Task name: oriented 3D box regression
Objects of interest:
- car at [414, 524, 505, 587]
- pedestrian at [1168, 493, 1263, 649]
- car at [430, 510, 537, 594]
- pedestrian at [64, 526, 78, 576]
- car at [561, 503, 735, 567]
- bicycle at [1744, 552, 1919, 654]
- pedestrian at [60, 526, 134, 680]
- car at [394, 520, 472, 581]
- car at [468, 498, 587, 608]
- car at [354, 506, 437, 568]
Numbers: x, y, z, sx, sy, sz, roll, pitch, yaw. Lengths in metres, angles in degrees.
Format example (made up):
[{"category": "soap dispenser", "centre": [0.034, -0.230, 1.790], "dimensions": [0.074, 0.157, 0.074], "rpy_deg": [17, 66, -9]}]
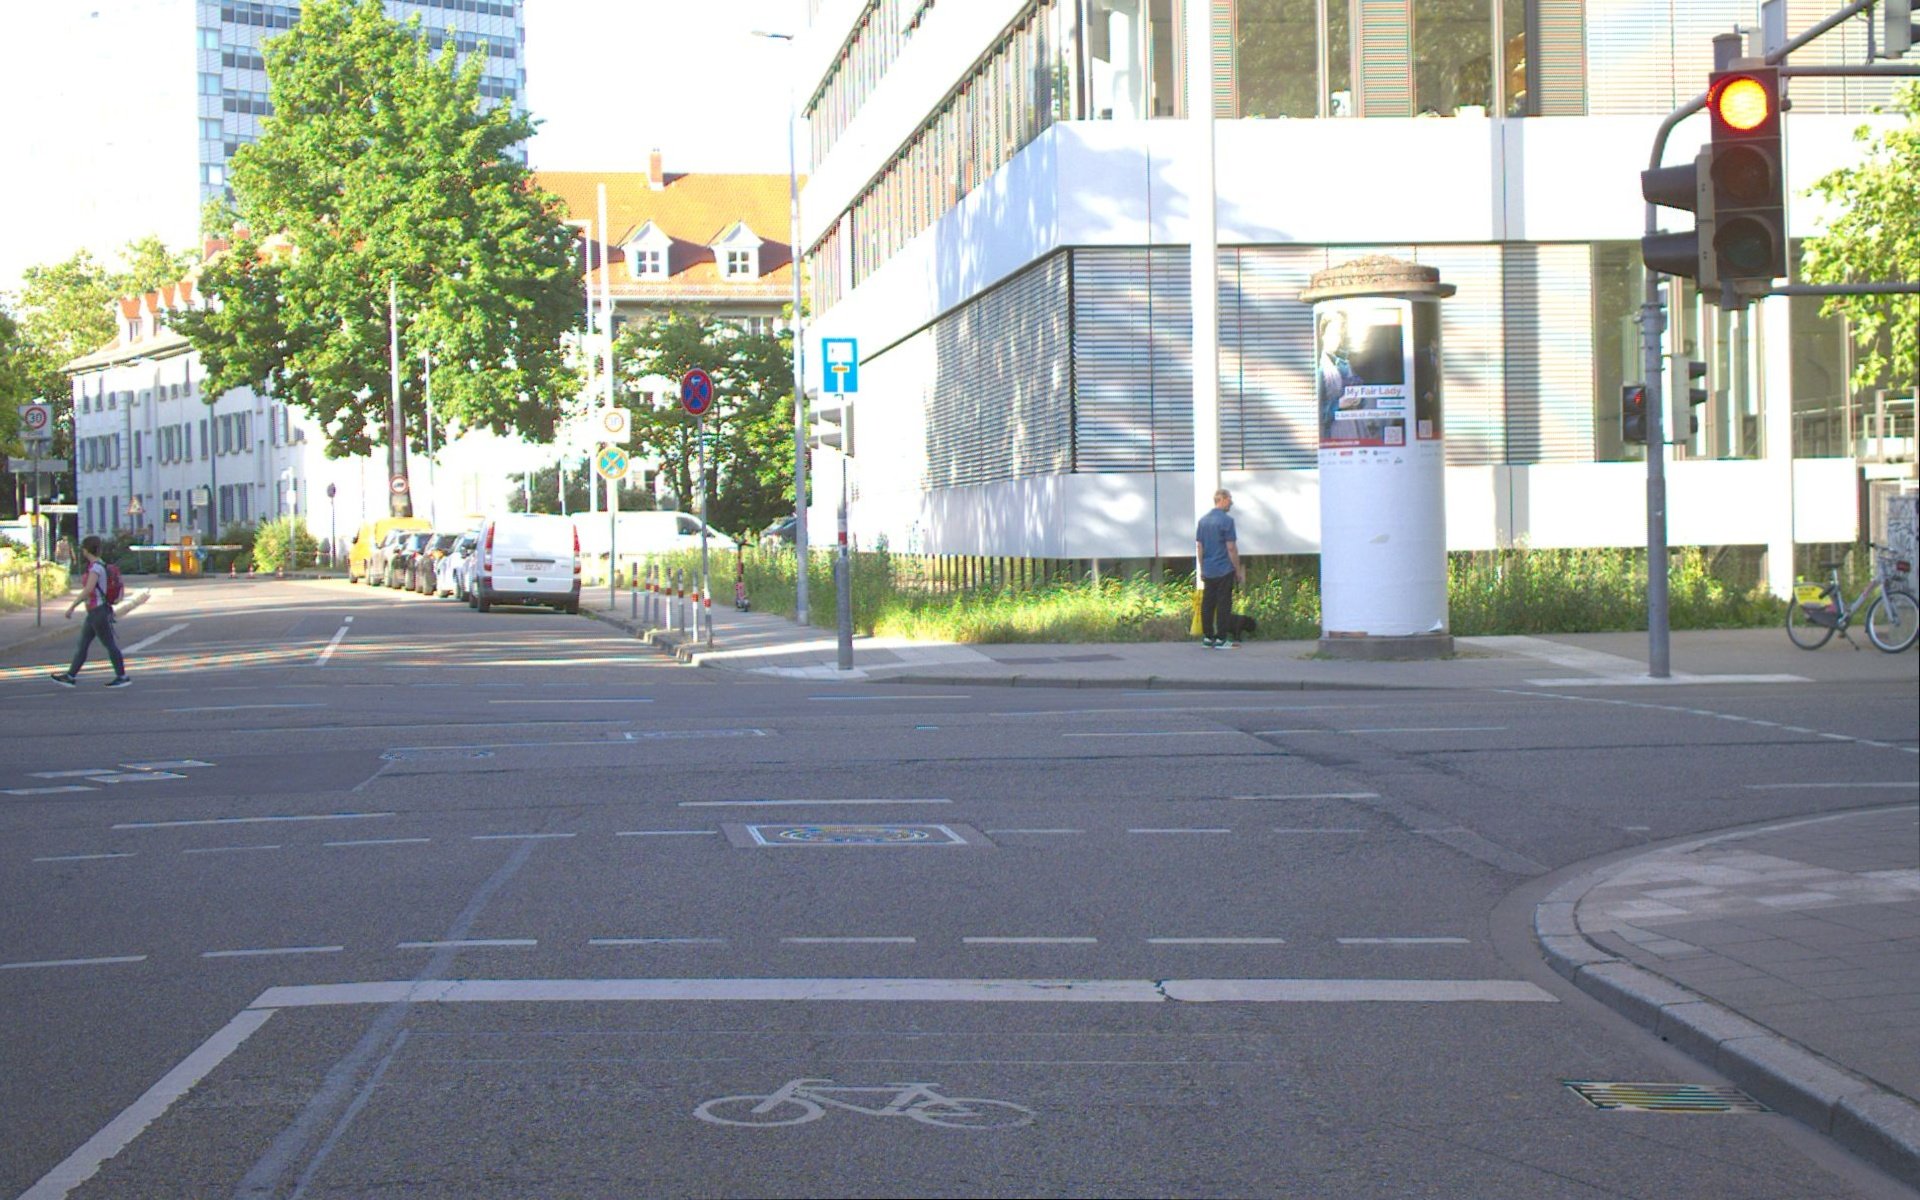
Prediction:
[{"category": "car", "centre": [-11.853, -1.066, 81.186], "dimensions": [1.703, 1.419, 4.239], "rpy_deg": [-1, 1, -14]}, {"category": "pedestrian", "centre": [2.885, -0.329, 38.850], "dimensions": [0.811, 1.730, 0.653], "rpy_deg": [0, 2, 43]}, {"category": "car", "centre": [-10.589, -1.084, 76.207], "dimensions": [1.946, 1.789, 4.239], "rpy_deg": [-1, 1, -13]}, {"category": "pedestrian", "centre": [-27.304, -1.495, 105.587], "dimensions": [0.380, 1.529, 0.446], "rpy_deg": [-1, 1, -12]}, {"category": "car", "centre": [-9.327, -1.934, 102.831], "dimensions": [4.880, 1.865, 2.001], "rpy_deg": [0, 0, -17]}, {"category": "bicycle", "centre": [9.179, 0.022, 36.126], "dimensions": [0.463, 1.045, 1.914], "rpy_deg": [-2, 2, -42]}, {"category": "pedestrian", "centre": [-9.078, 0.021, 36.164], "dimensions": [0.711, 1.594, 0.617], "rpy_deg": [-1, 1, -14]}, {"category": "car", "centre": [-13.189, -1.261, 85.845], "dimensions": [1.703, 1.459, 4.239], "rpy_deg": [-1, 1, -11]}, {"category": "car", "centre": [-8.168, -0.905, 64.650], "dimensions": [2.066, 1.956, 4.239], "rpy_deg": [-1, 1, -9]}, {"category": "car", "centre": [-15.741, -1.767, 95.661], "dimensions": [2.100, 1.652, 4.477], "rpy_deg": [-1, 1, -11]}]
